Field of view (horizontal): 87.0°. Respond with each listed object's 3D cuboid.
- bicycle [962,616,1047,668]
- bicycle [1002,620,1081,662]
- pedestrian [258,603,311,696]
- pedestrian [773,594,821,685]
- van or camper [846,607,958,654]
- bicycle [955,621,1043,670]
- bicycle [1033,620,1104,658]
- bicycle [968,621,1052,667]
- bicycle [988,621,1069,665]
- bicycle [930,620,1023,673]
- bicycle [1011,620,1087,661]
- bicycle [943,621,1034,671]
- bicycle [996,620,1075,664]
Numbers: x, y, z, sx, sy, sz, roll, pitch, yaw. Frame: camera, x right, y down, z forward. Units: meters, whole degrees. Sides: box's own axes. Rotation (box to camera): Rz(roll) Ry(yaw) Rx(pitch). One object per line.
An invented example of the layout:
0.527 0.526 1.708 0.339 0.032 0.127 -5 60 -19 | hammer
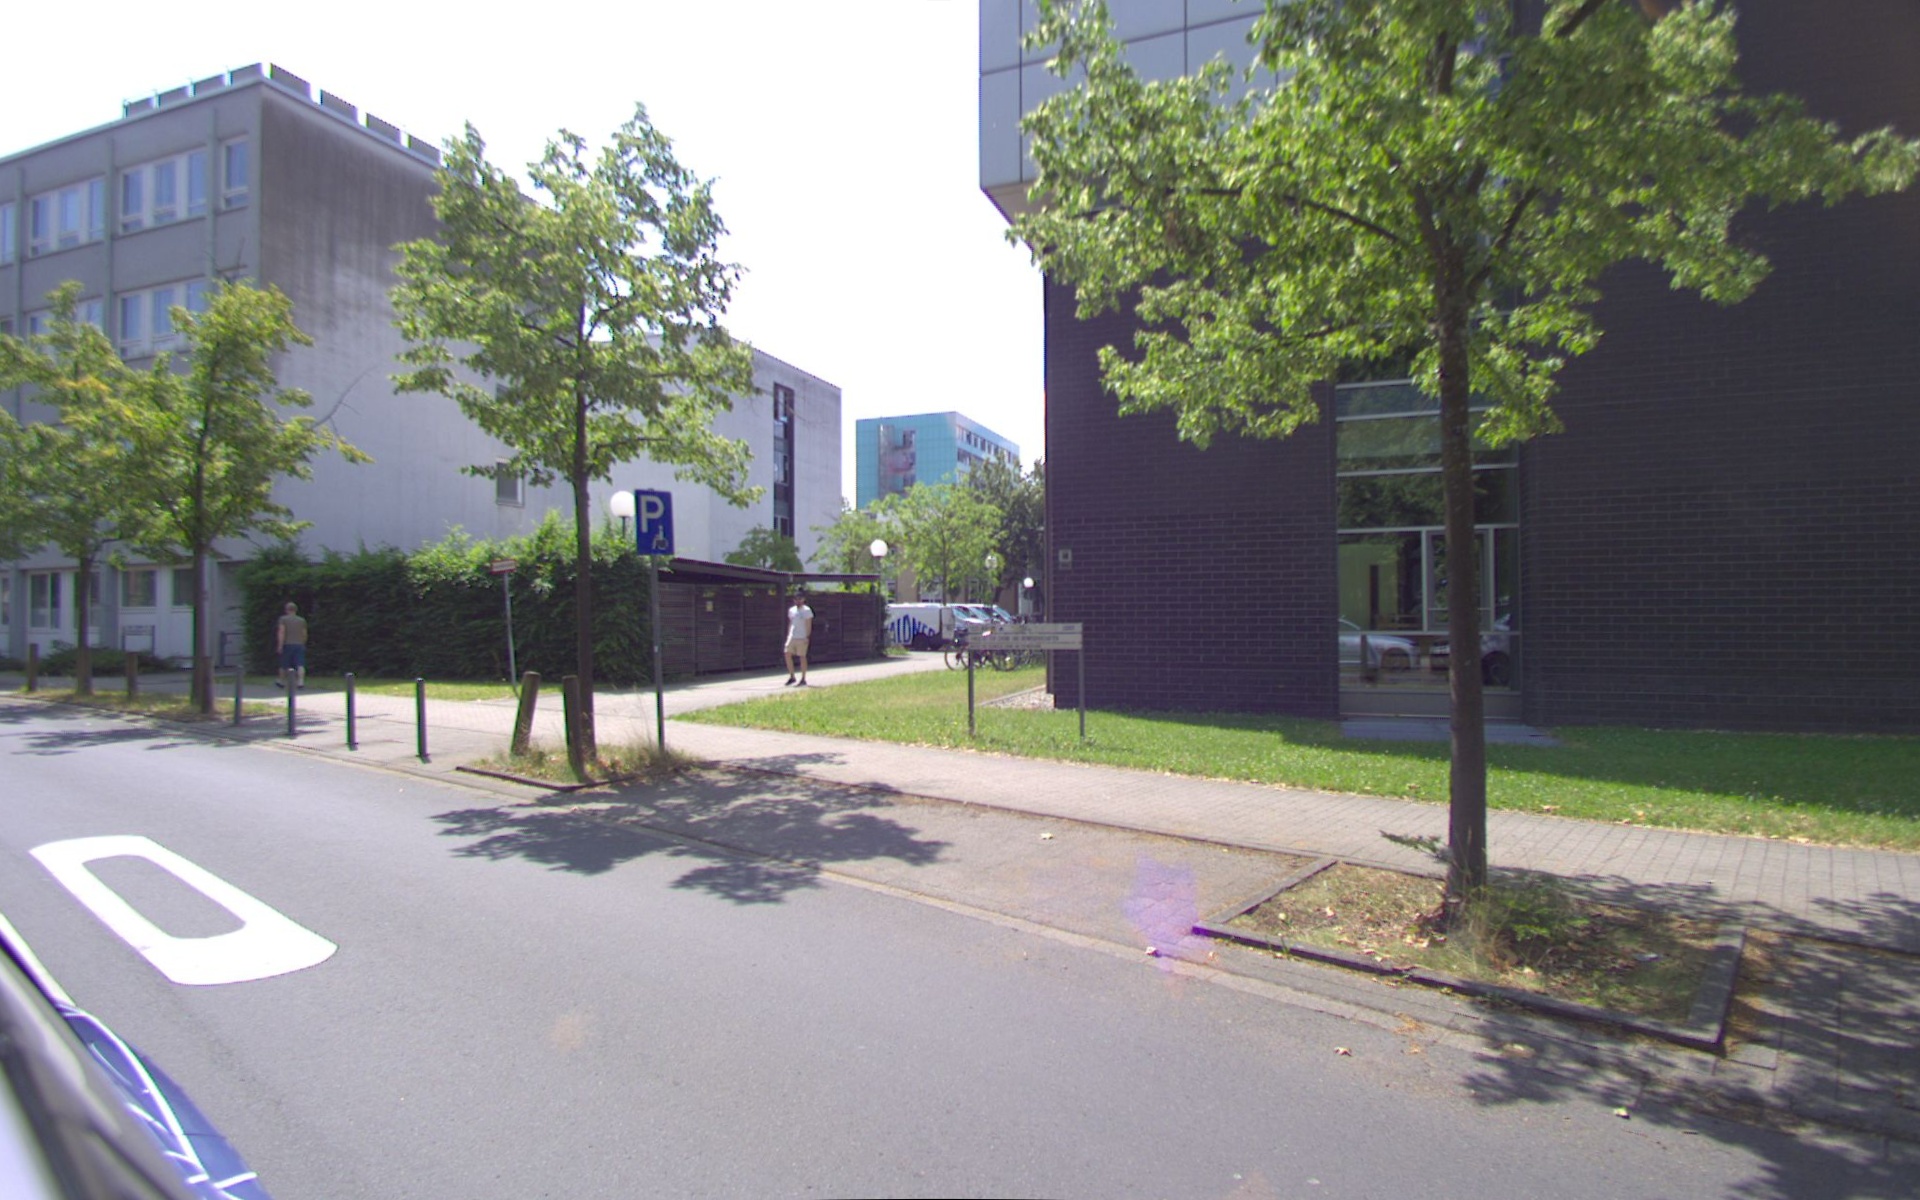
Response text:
1.095 1.037 24.958 2.034 1.252 0.578 -1 -2 20 | bicycle
2.210 1.108 27.464 2.034 1.131 0.578 -1 -2 20 | bicycle
-13.311 0.965 19.934 0.909 1.778 0.579 -2 -2 35 | pedestrian
-3.154 0.757 19.632 0.686 1.733 0.611 -1 -2 29 | pedestrian
-2.282 1.198 39.872 4.068 1.752 1.746 -1 -1 18 | van or camper
0.927 1.086 24.334 2.034 1.131 0.578 -1 -2 20 | bicycle
3.243 1.175 30.372 2.034 1.131 0.578 -1 -2 20 | bicycle
1.251 1.111 25.571 2.034 1.131 0.578 -1 -2 20 | bicycle
1.782 1.114 26.341 2.034 1.131 0.545 -1 -2 20 | bicycle
0.372 1.051 22.912 2.034 1.171 0.578 -1 -2 20 | bicycle
2.465 1.119 28.049 2.034 1.131 0.578 -1 -2 20 | bicycle
0.655 1.065 23.578 2.034 1.131 0.578 -1 -2 20 | bicycle
2.011 1.110 26.885 2.034 1.131 0.499 -1 -2 20 | bicycle
